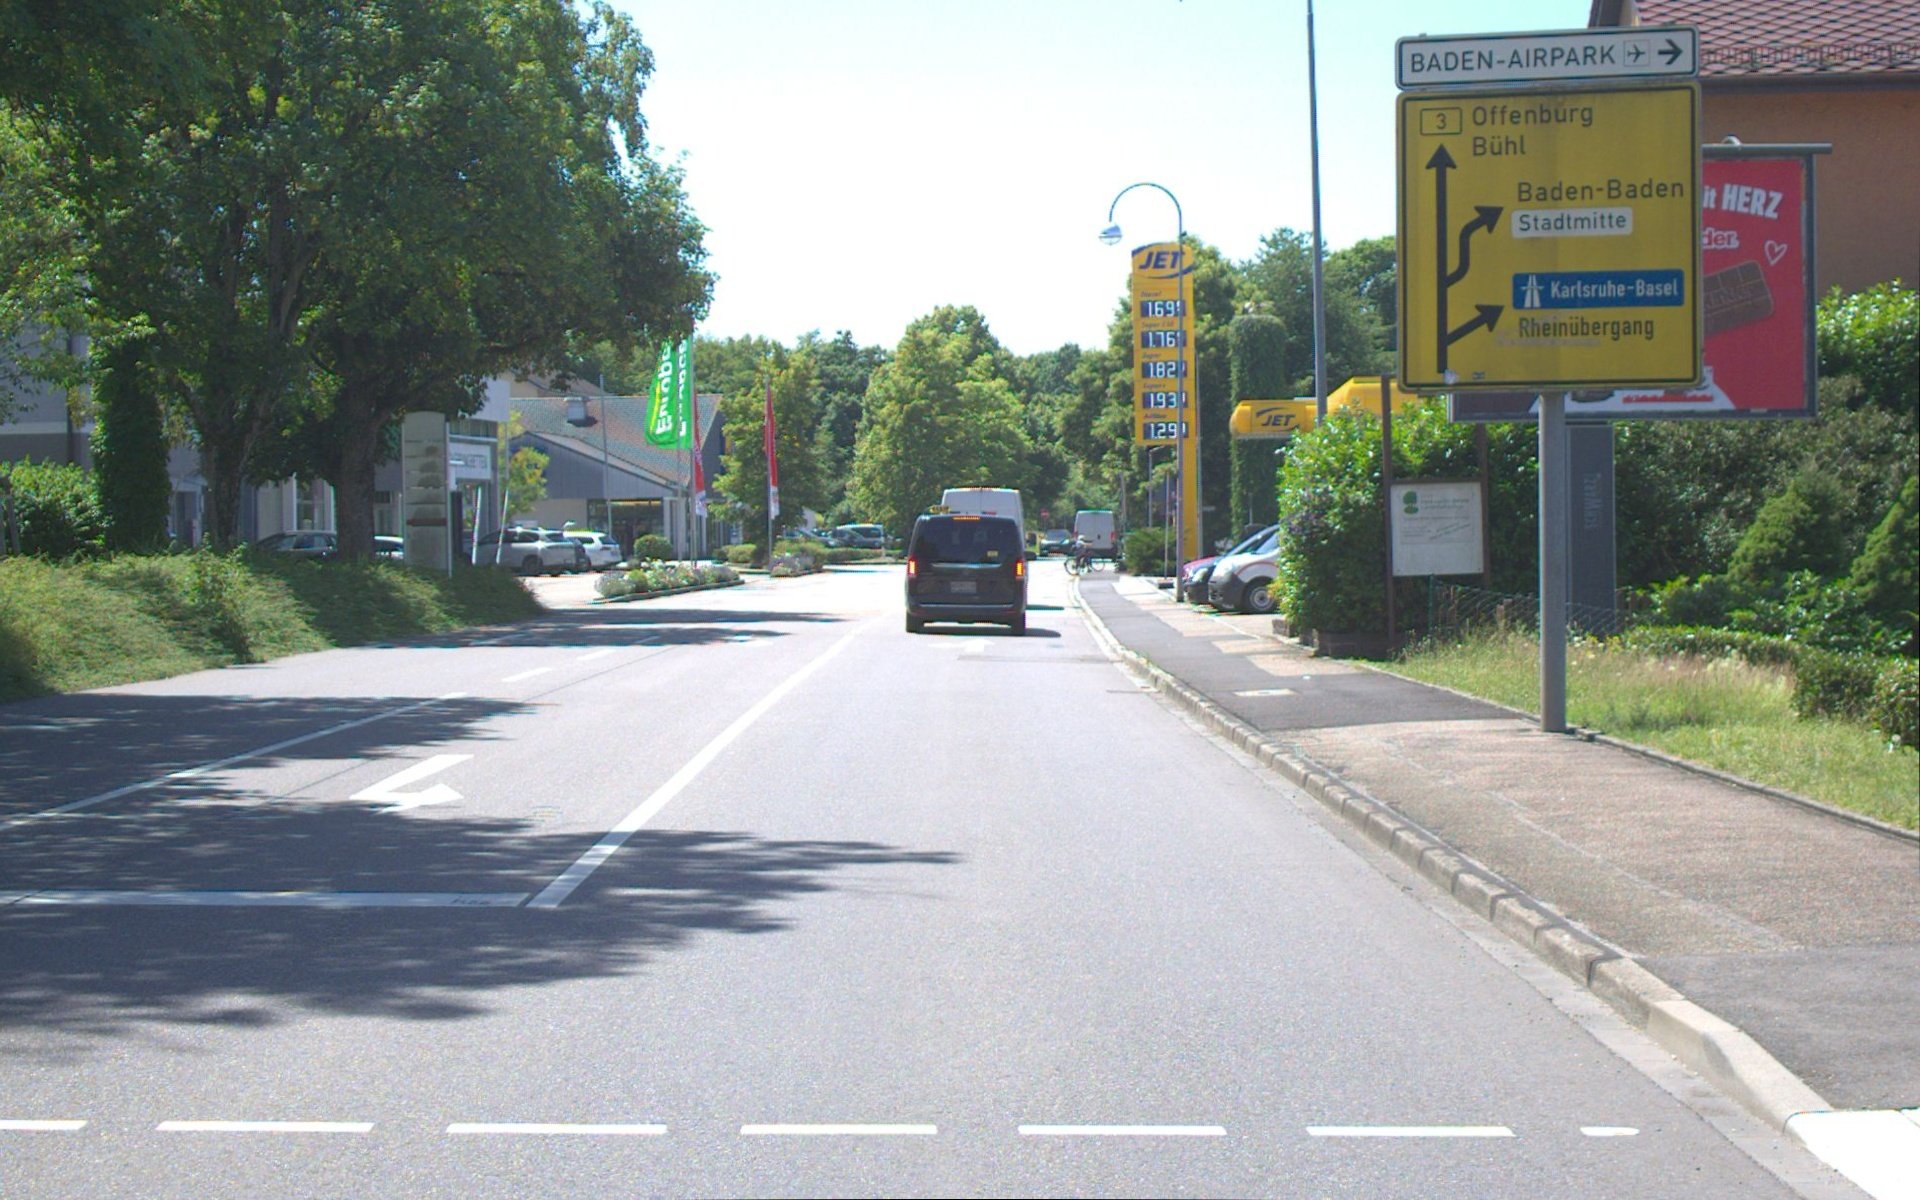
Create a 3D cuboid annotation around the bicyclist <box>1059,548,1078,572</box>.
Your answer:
[{"bbox_3d":[3.973,-1.479,125.888,0.468,0.850,0.557,-2,4,-34],"label":"bicyclist"}]

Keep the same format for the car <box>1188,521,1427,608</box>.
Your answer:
[{"bbox_3d":[6.483,-0.684,64.380,4.156,1.452,1.907,-2,2,-4],"label":"car"}]

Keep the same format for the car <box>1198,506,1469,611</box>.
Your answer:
[{"bbox_3d":[6.736,-0.773,62.259,4.556,1.711,2.000,-2,2,-4],"label":"car"}]

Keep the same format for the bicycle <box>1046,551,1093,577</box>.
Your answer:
[{"bbox_3d":[4.001,-1.335,125.910,1.715,0.884,0.557,-3,4,-34],"label":"bicycle"}]

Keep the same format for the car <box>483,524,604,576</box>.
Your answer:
[{"bbox_3d":[-15.362,-1.859,126.926,3.989,1.826,1.945,1,2,12],"label":"car"}]

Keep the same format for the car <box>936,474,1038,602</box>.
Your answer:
[{"bbox_3d":[0.582,-1.403,75.681,2.120,2.668,5.662,1,2,0],"label":"car"}]

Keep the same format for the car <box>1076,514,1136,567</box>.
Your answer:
[{"bbox_3d":[7.340,-3.005,171.919,2.353,2.538,4.954,1,2,10],"label":"car"}]

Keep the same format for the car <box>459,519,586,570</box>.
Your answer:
[{"bbox_3d":[-15.580,-1.982,122.491,4.045,1.700,1.901,1,2,17],"label":"car"}]

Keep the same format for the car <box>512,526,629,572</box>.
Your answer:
[{"bbox_3d":[-14.762,-1.956,130.359,3.989,1.656,1.999,1,2,10],"label":"car"}]

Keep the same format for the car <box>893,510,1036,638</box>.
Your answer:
[{"bbox_3d":[0.034,-0.449,54.190,1.993,1.886,4.001,1,2,-3],"label":"car"}]
